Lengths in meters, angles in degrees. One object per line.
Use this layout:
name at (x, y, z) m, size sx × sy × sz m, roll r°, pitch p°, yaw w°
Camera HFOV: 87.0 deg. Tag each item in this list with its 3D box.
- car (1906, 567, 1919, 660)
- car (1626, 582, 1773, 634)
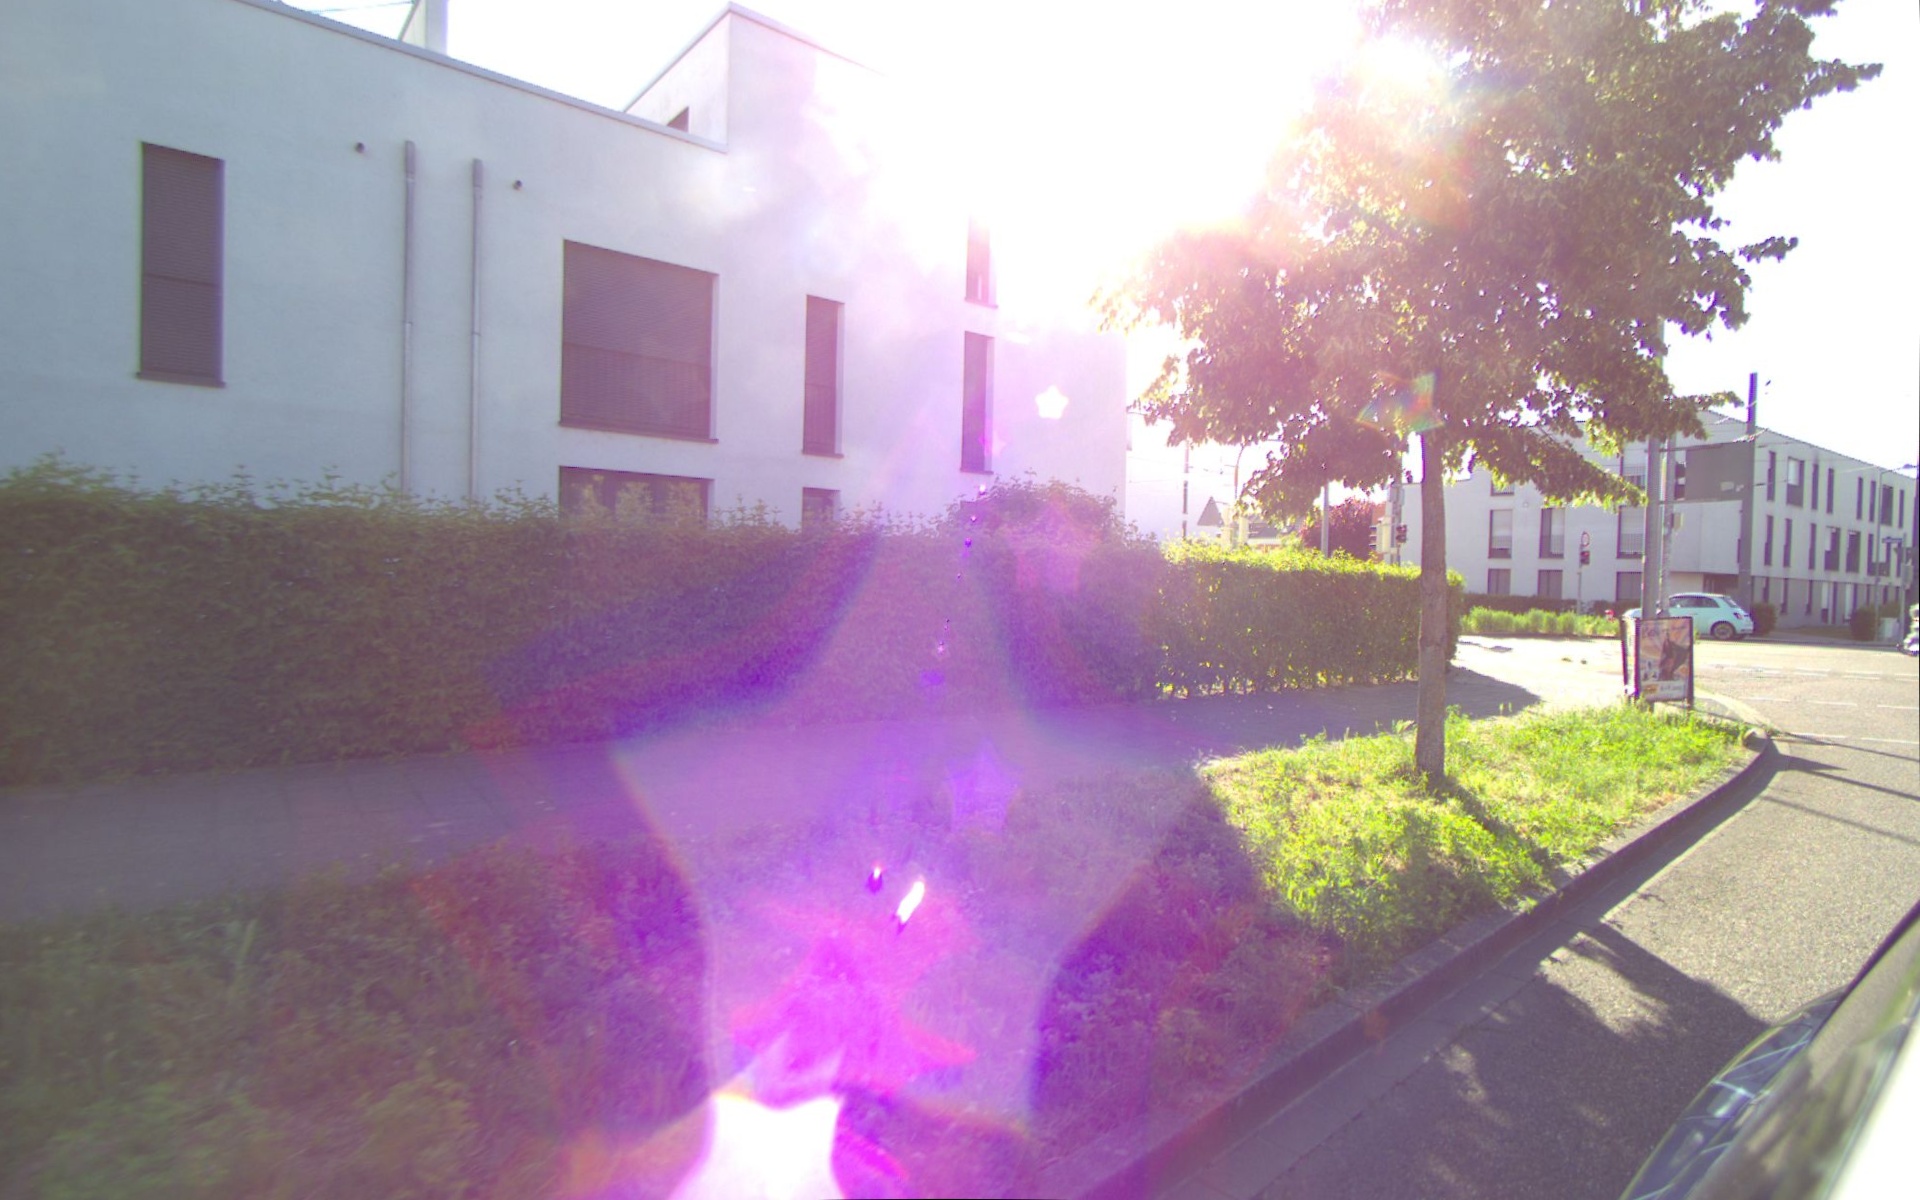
car at (19.658, 0.321, 17.701) m, size 1.967 × 1.693 × 4.399 m, roll -2°, pitch 4°, yaw -43°
car at (24.338, 0.242, 33.359) m, size 1.965 × 1.505 × 3.539 m, roll 3°, pitch 0°, yaw -41°
